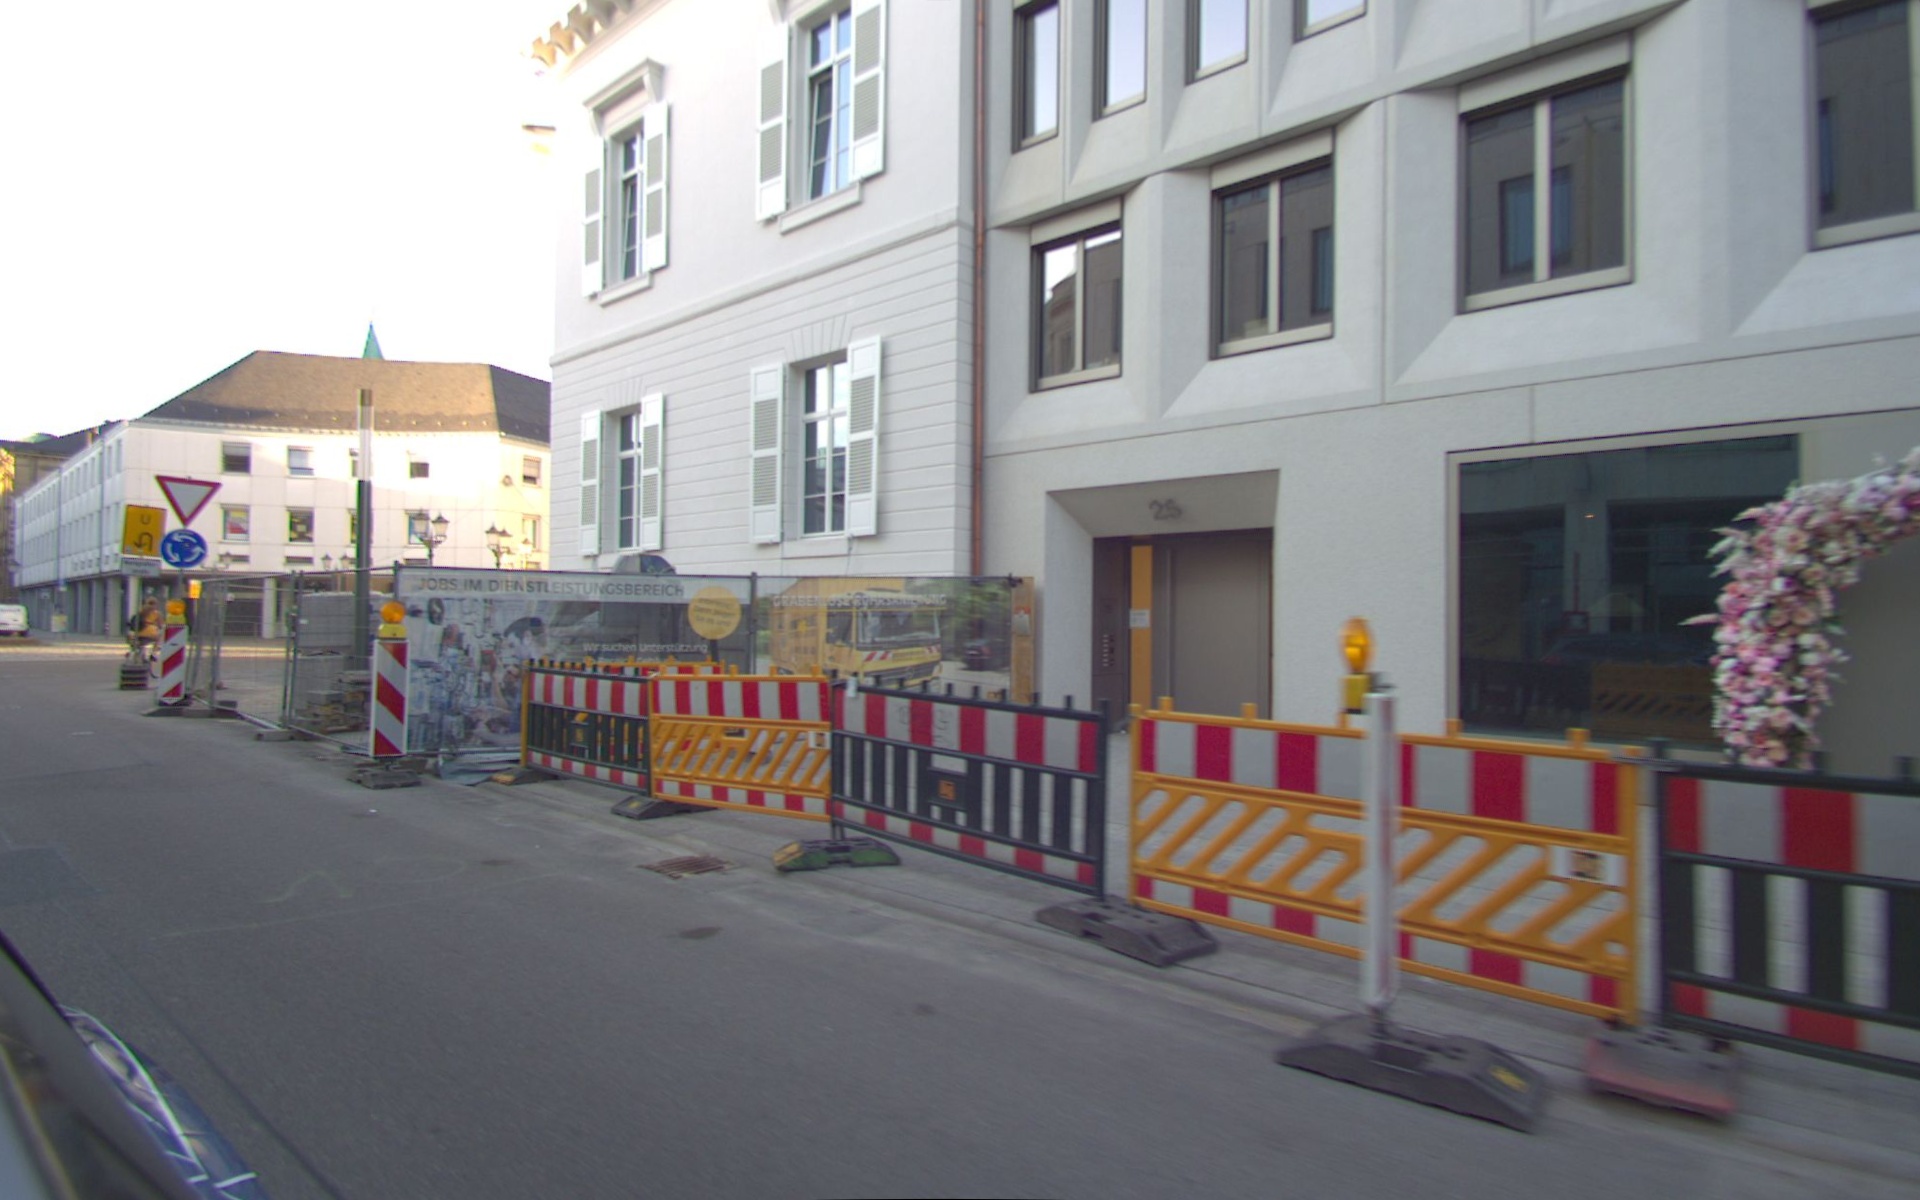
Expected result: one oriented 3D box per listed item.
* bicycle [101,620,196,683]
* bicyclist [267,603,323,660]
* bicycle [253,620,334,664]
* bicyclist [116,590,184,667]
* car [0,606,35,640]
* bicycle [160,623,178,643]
[{"bbox_3d":[-16.763,1.032,20.975,0.785,1.226,2.240,1,-1,-18],"label":"bicycle"},{"bbox_3d":[-19.447,0.920,29.617,0.788,1.615,1.229,0,-1,4],"label":"bicyclist"},{"bbox_3d":[-19.453,1.214,29.614,0.788,1.226,2.230,0,-1,3],"label":"bicycle"},{"bbox_3d":[-16.750,0.590,20.955,0.785,1.544,0.977,1,-2,-18],"label":"bicyclist"},{"bbox_3d":[-52.406,1.241,55.210,4.450,1.839,1.997,-1,-2,36],"label":"car"},{"bbox_3d":[-46.191,1.919,59.096,1.949,1.164,0.474,-1,-2,42],"label":"bicycle"}]
